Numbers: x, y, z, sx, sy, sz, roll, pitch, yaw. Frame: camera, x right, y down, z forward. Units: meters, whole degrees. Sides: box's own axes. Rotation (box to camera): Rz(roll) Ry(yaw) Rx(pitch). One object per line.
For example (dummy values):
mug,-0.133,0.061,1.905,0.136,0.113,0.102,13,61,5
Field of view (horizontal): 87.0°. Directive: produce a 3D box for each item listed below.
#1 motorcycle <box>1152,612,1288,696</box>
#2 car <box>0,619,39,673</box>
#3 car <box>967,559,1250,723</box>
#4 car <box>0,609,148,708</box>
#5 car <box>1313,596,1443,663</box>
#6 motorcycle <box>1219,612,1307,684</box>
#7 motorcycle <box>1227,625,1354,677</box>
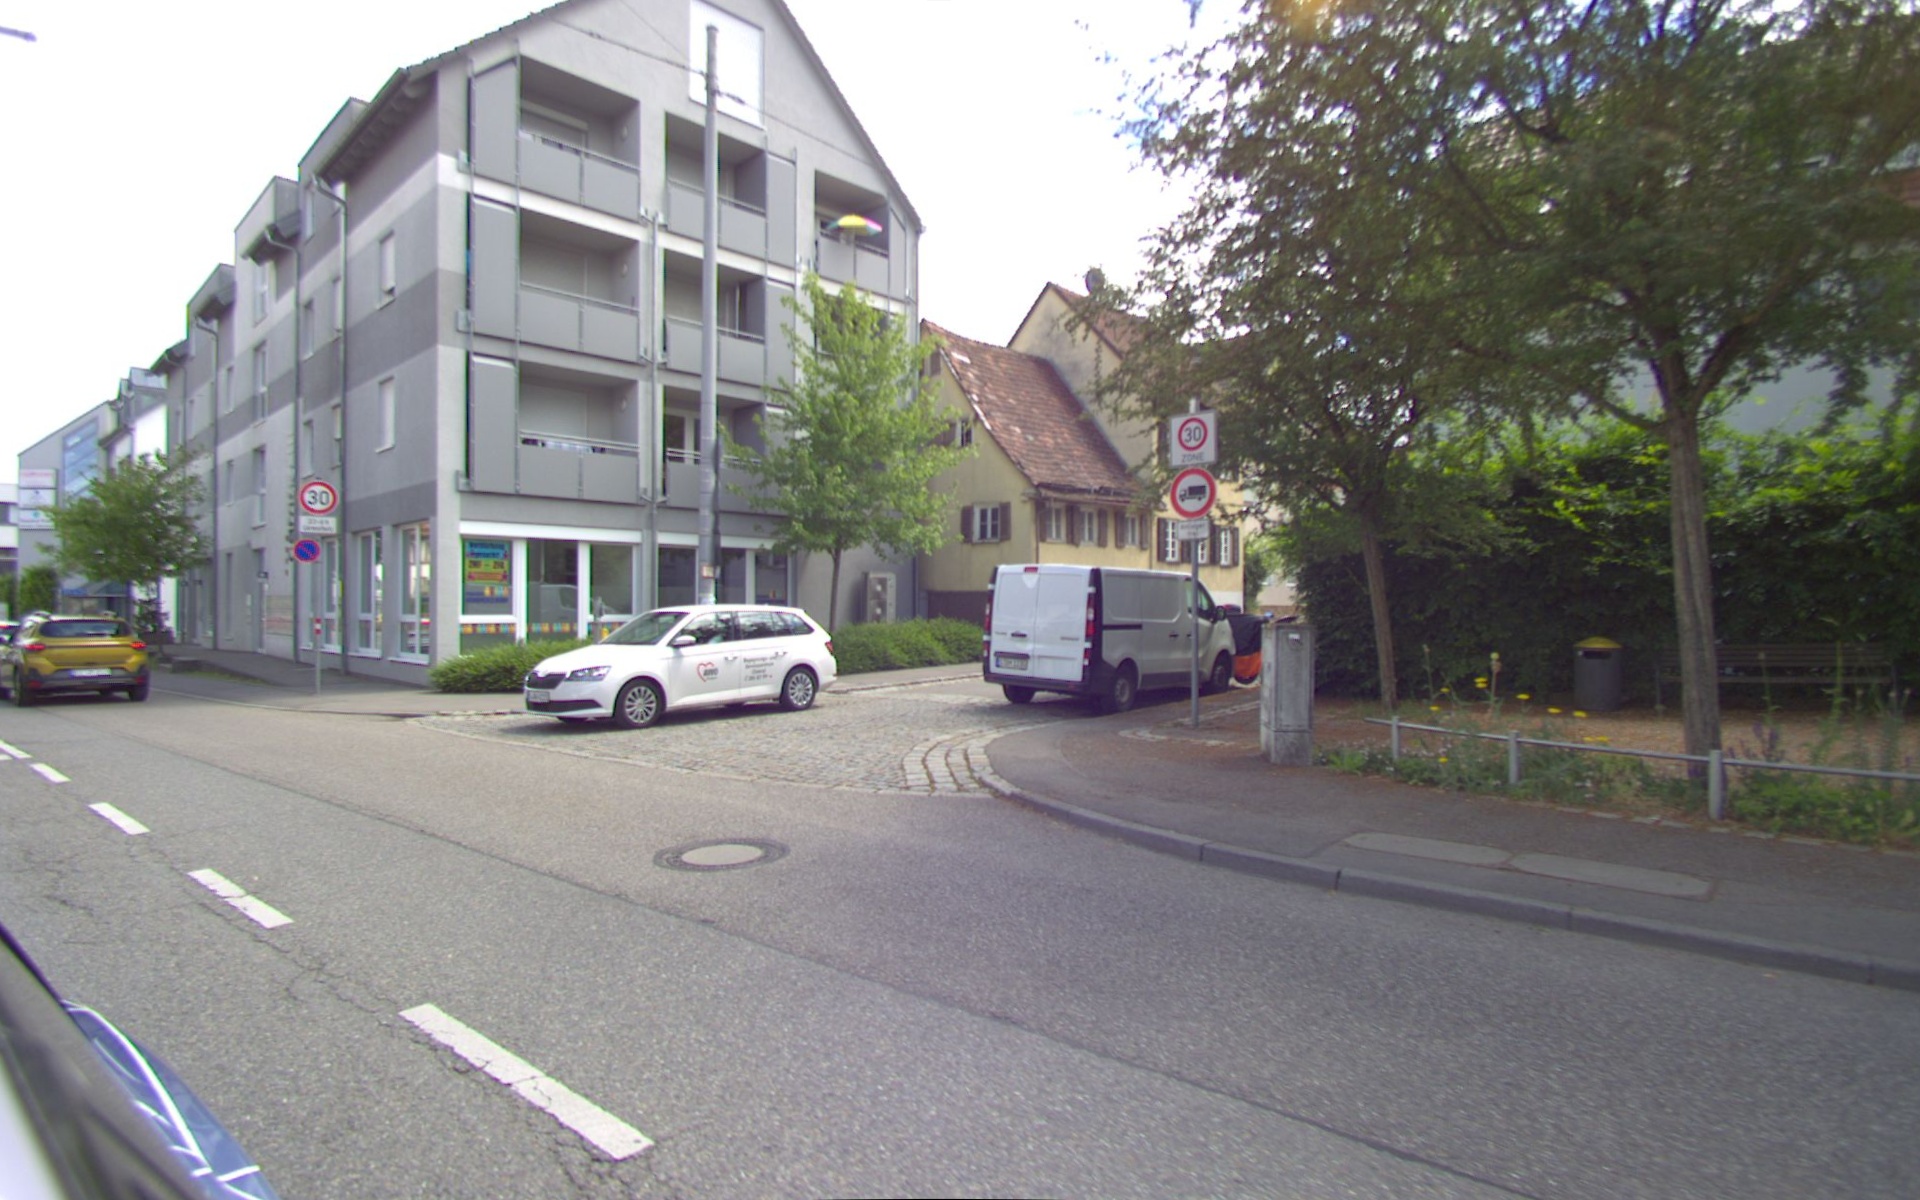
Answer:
motorcycle,4.435,0.882,17.402,2.136,1.343,0.832,0,-1,44
car,-27.416,1.278,28.439,4.113,1.435,1.854,-1,-1,42
car,2.346,0.512,14.916,2.093,2.024,4.576,-1,-1,39
car,-15.954,0.982,17.984,3.998,1.550,1.710,-2,-1,41
car,10.829,0.707,26.067,2.036,1.588,4.105,-1,-1,38
motorcycle,5.884,0.916,19.671,1.589,1.345,0.681,-1,-1,19
motorcycle,6.894,1.035,21.110,2.329,1.012,1.193,-1,-1,29
